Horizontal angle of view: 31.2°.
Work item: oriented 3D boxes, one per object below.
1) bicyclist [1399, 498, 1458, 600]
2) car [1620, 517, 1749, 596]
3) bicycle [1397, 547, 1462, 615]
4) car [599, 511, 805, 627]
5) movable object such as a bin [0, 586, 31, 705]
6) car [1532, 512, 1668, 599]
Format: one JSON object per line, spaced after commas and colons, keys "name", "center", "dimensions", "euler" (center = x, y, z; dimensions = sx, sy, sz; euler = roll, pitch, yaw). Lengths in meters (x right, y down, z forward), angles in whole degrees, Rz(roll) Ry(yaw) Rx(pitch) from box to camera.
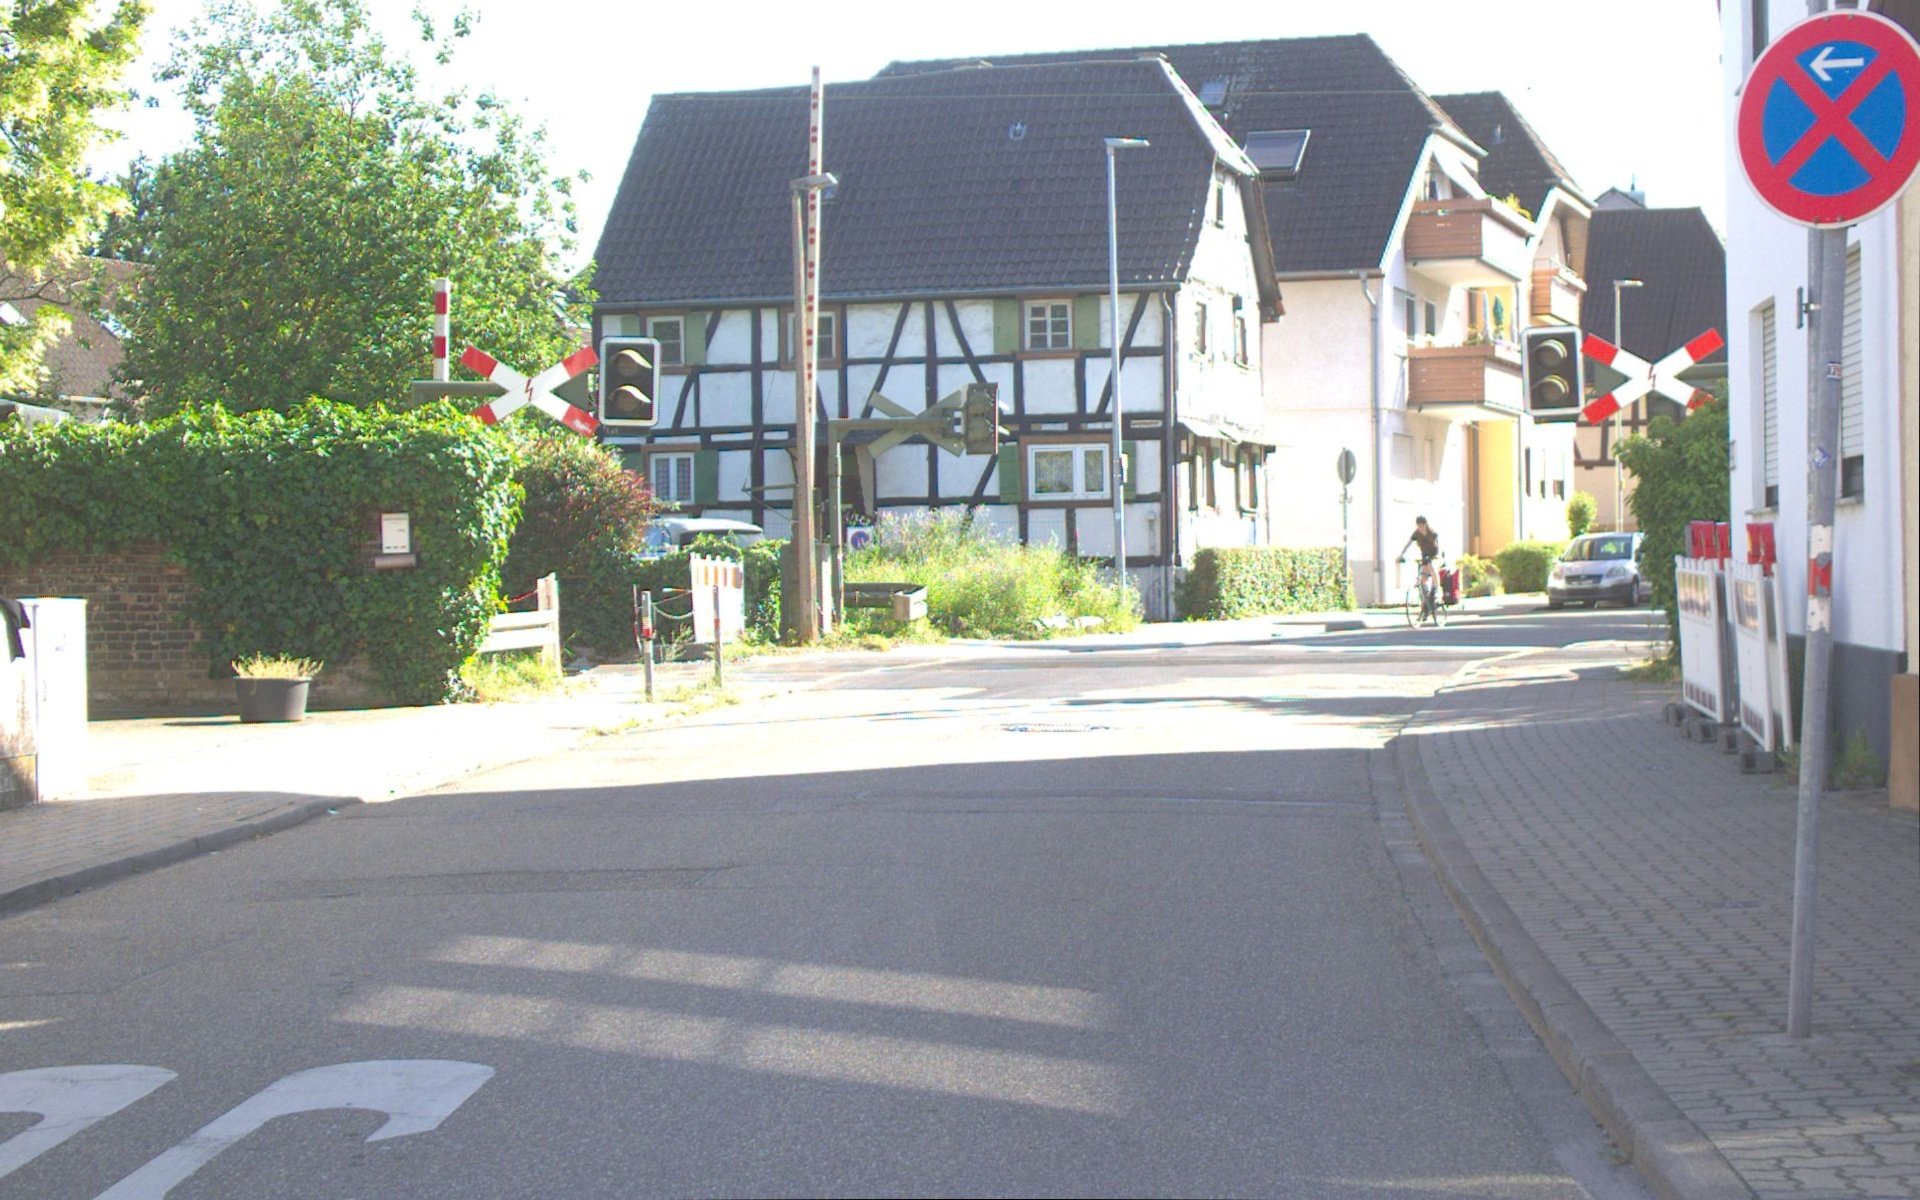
{"name": "bicyclist", "center": [7.110, -0.776, 52.197], "dimensions": [0.848, 1.536, 0.873], "euler": [0, 1, 6]}
{"name": "car", "center": [15.086, -0.913, 71.460], "dimensions": [1.676, 1.500, 4.089], "euler": [-1, 2, 26]}
{"name": "bicycle", "center": [7.115, -0.301, 52.169], "dimensions": [0.883, 1.002, 2.062], "euler": [0, 1, 6]}
{"name": "car", "center": [-3.743, -0.473, 49.270], "dimensions": [1.683, 1.559, 4.001], "euler": [0, 1, -24]}
{"name": "movable object such as a bin", "center": [-7.779, 0.362, 27.350], "dimensions": [0.590, 0.931, 0.508], "euler": [0, 1, 9]}
{"name": "car", "center": [12.464, -0.885, 66.833], "dimensions": [1.633, 1.500, 3.848], "euler": [-3, 1, 25]}
